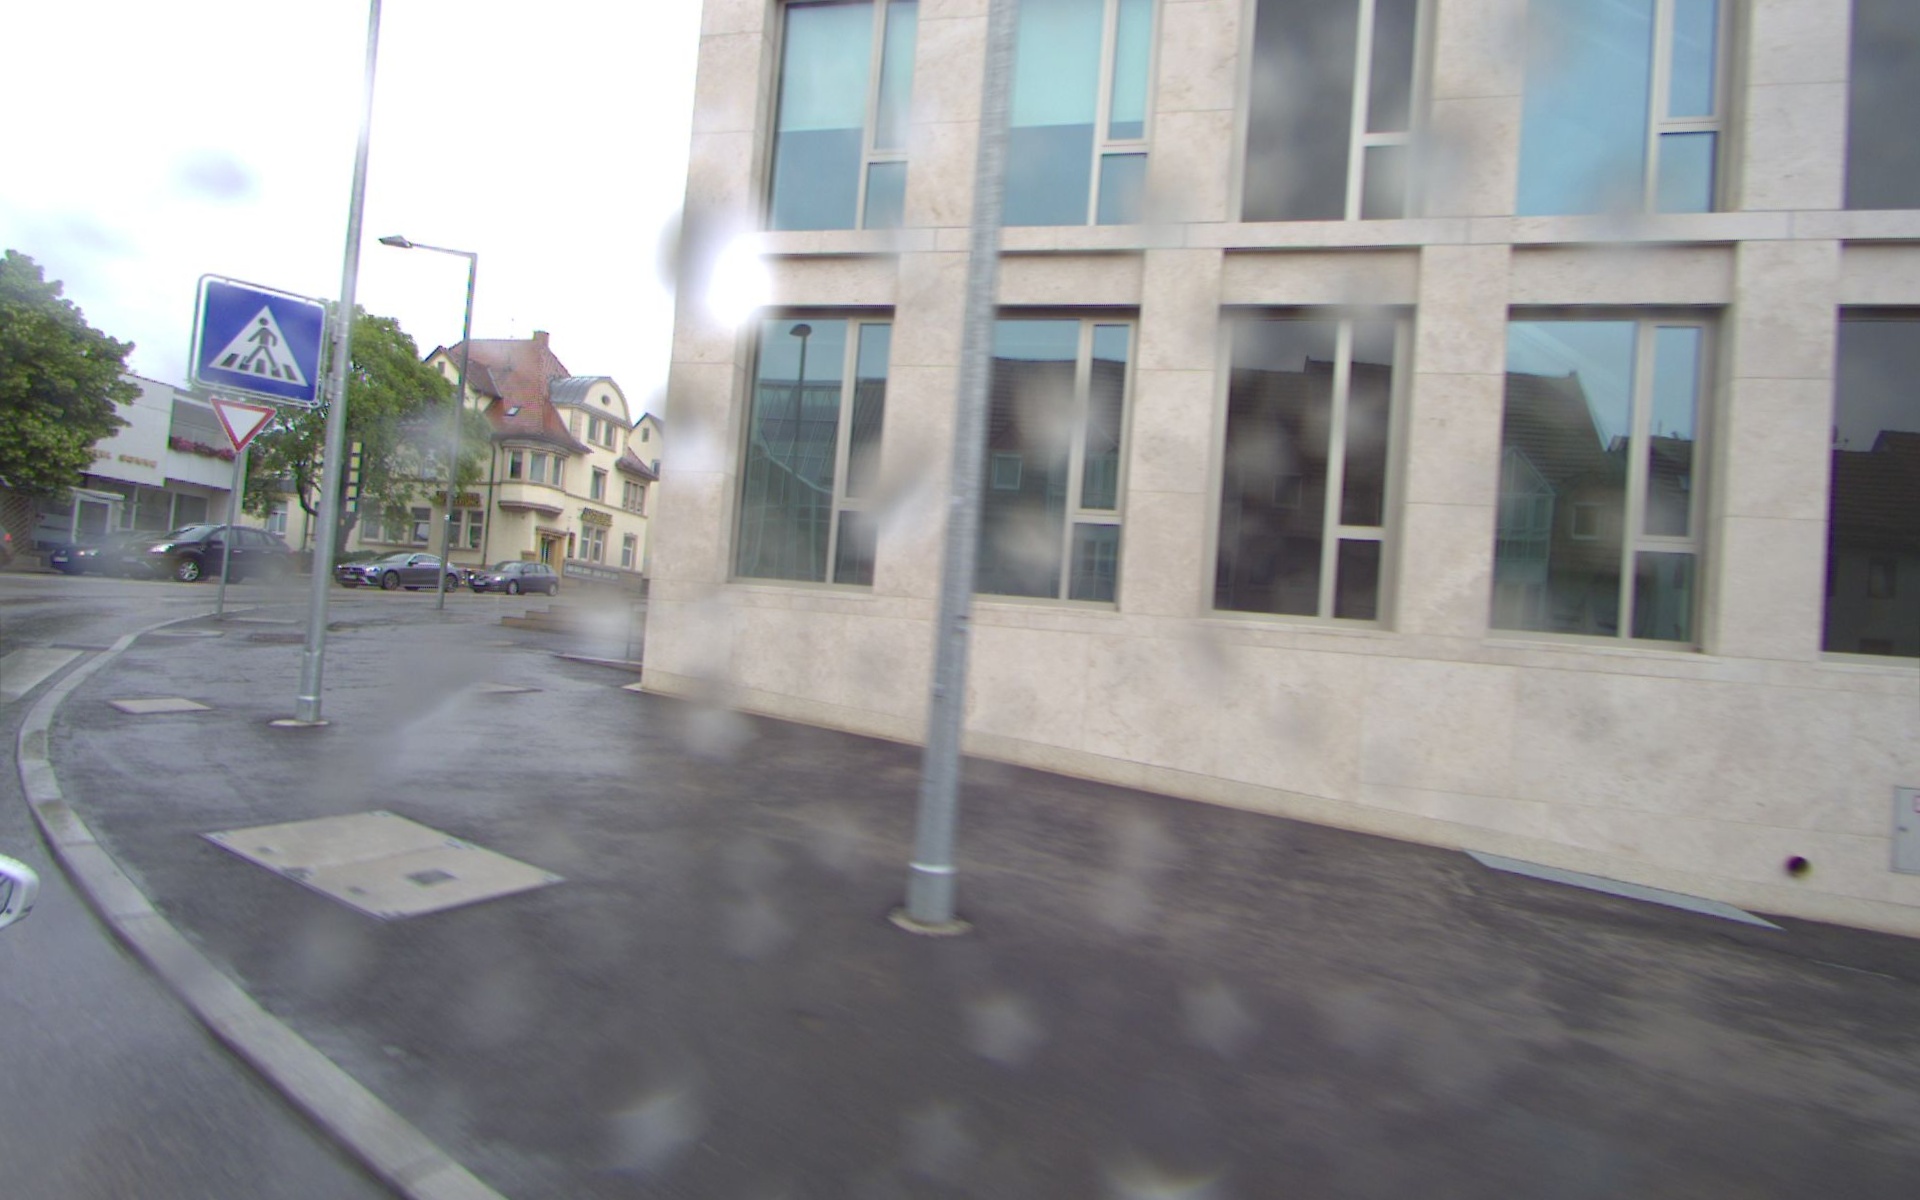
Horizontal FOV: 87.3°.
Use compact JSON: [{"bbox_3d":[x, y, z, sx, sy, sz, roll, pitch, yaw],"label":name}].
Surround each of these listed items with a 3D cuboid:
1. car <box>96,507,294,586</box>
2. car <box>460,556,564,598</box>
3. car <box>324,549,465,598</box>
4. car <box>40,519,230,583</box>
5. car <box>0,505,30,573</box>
[{"bbox_3d":[-21.517,-1.440,28.552,1.744,1.838,4.317,3,-1,13],"label":"car"},{"bbox_3d":[-18.584,-0.912,41.930,1.744,1.470,4.187,3,-1,13],"label":"car"},{"bbox_3d":[-20.034,-0.898,35.860,1.744,1.470,4.541,3,-1,13],"label":"car"},{"bbox_3d":[-24.561,-1.414,30.156,1.744,1.538,4.187,3,-1,13],"label":"car"},{"bbox_3d":[-23.265,-1.499,21.807,1.744,1.523,4.317,3,-1,11],"label":"car"}]
